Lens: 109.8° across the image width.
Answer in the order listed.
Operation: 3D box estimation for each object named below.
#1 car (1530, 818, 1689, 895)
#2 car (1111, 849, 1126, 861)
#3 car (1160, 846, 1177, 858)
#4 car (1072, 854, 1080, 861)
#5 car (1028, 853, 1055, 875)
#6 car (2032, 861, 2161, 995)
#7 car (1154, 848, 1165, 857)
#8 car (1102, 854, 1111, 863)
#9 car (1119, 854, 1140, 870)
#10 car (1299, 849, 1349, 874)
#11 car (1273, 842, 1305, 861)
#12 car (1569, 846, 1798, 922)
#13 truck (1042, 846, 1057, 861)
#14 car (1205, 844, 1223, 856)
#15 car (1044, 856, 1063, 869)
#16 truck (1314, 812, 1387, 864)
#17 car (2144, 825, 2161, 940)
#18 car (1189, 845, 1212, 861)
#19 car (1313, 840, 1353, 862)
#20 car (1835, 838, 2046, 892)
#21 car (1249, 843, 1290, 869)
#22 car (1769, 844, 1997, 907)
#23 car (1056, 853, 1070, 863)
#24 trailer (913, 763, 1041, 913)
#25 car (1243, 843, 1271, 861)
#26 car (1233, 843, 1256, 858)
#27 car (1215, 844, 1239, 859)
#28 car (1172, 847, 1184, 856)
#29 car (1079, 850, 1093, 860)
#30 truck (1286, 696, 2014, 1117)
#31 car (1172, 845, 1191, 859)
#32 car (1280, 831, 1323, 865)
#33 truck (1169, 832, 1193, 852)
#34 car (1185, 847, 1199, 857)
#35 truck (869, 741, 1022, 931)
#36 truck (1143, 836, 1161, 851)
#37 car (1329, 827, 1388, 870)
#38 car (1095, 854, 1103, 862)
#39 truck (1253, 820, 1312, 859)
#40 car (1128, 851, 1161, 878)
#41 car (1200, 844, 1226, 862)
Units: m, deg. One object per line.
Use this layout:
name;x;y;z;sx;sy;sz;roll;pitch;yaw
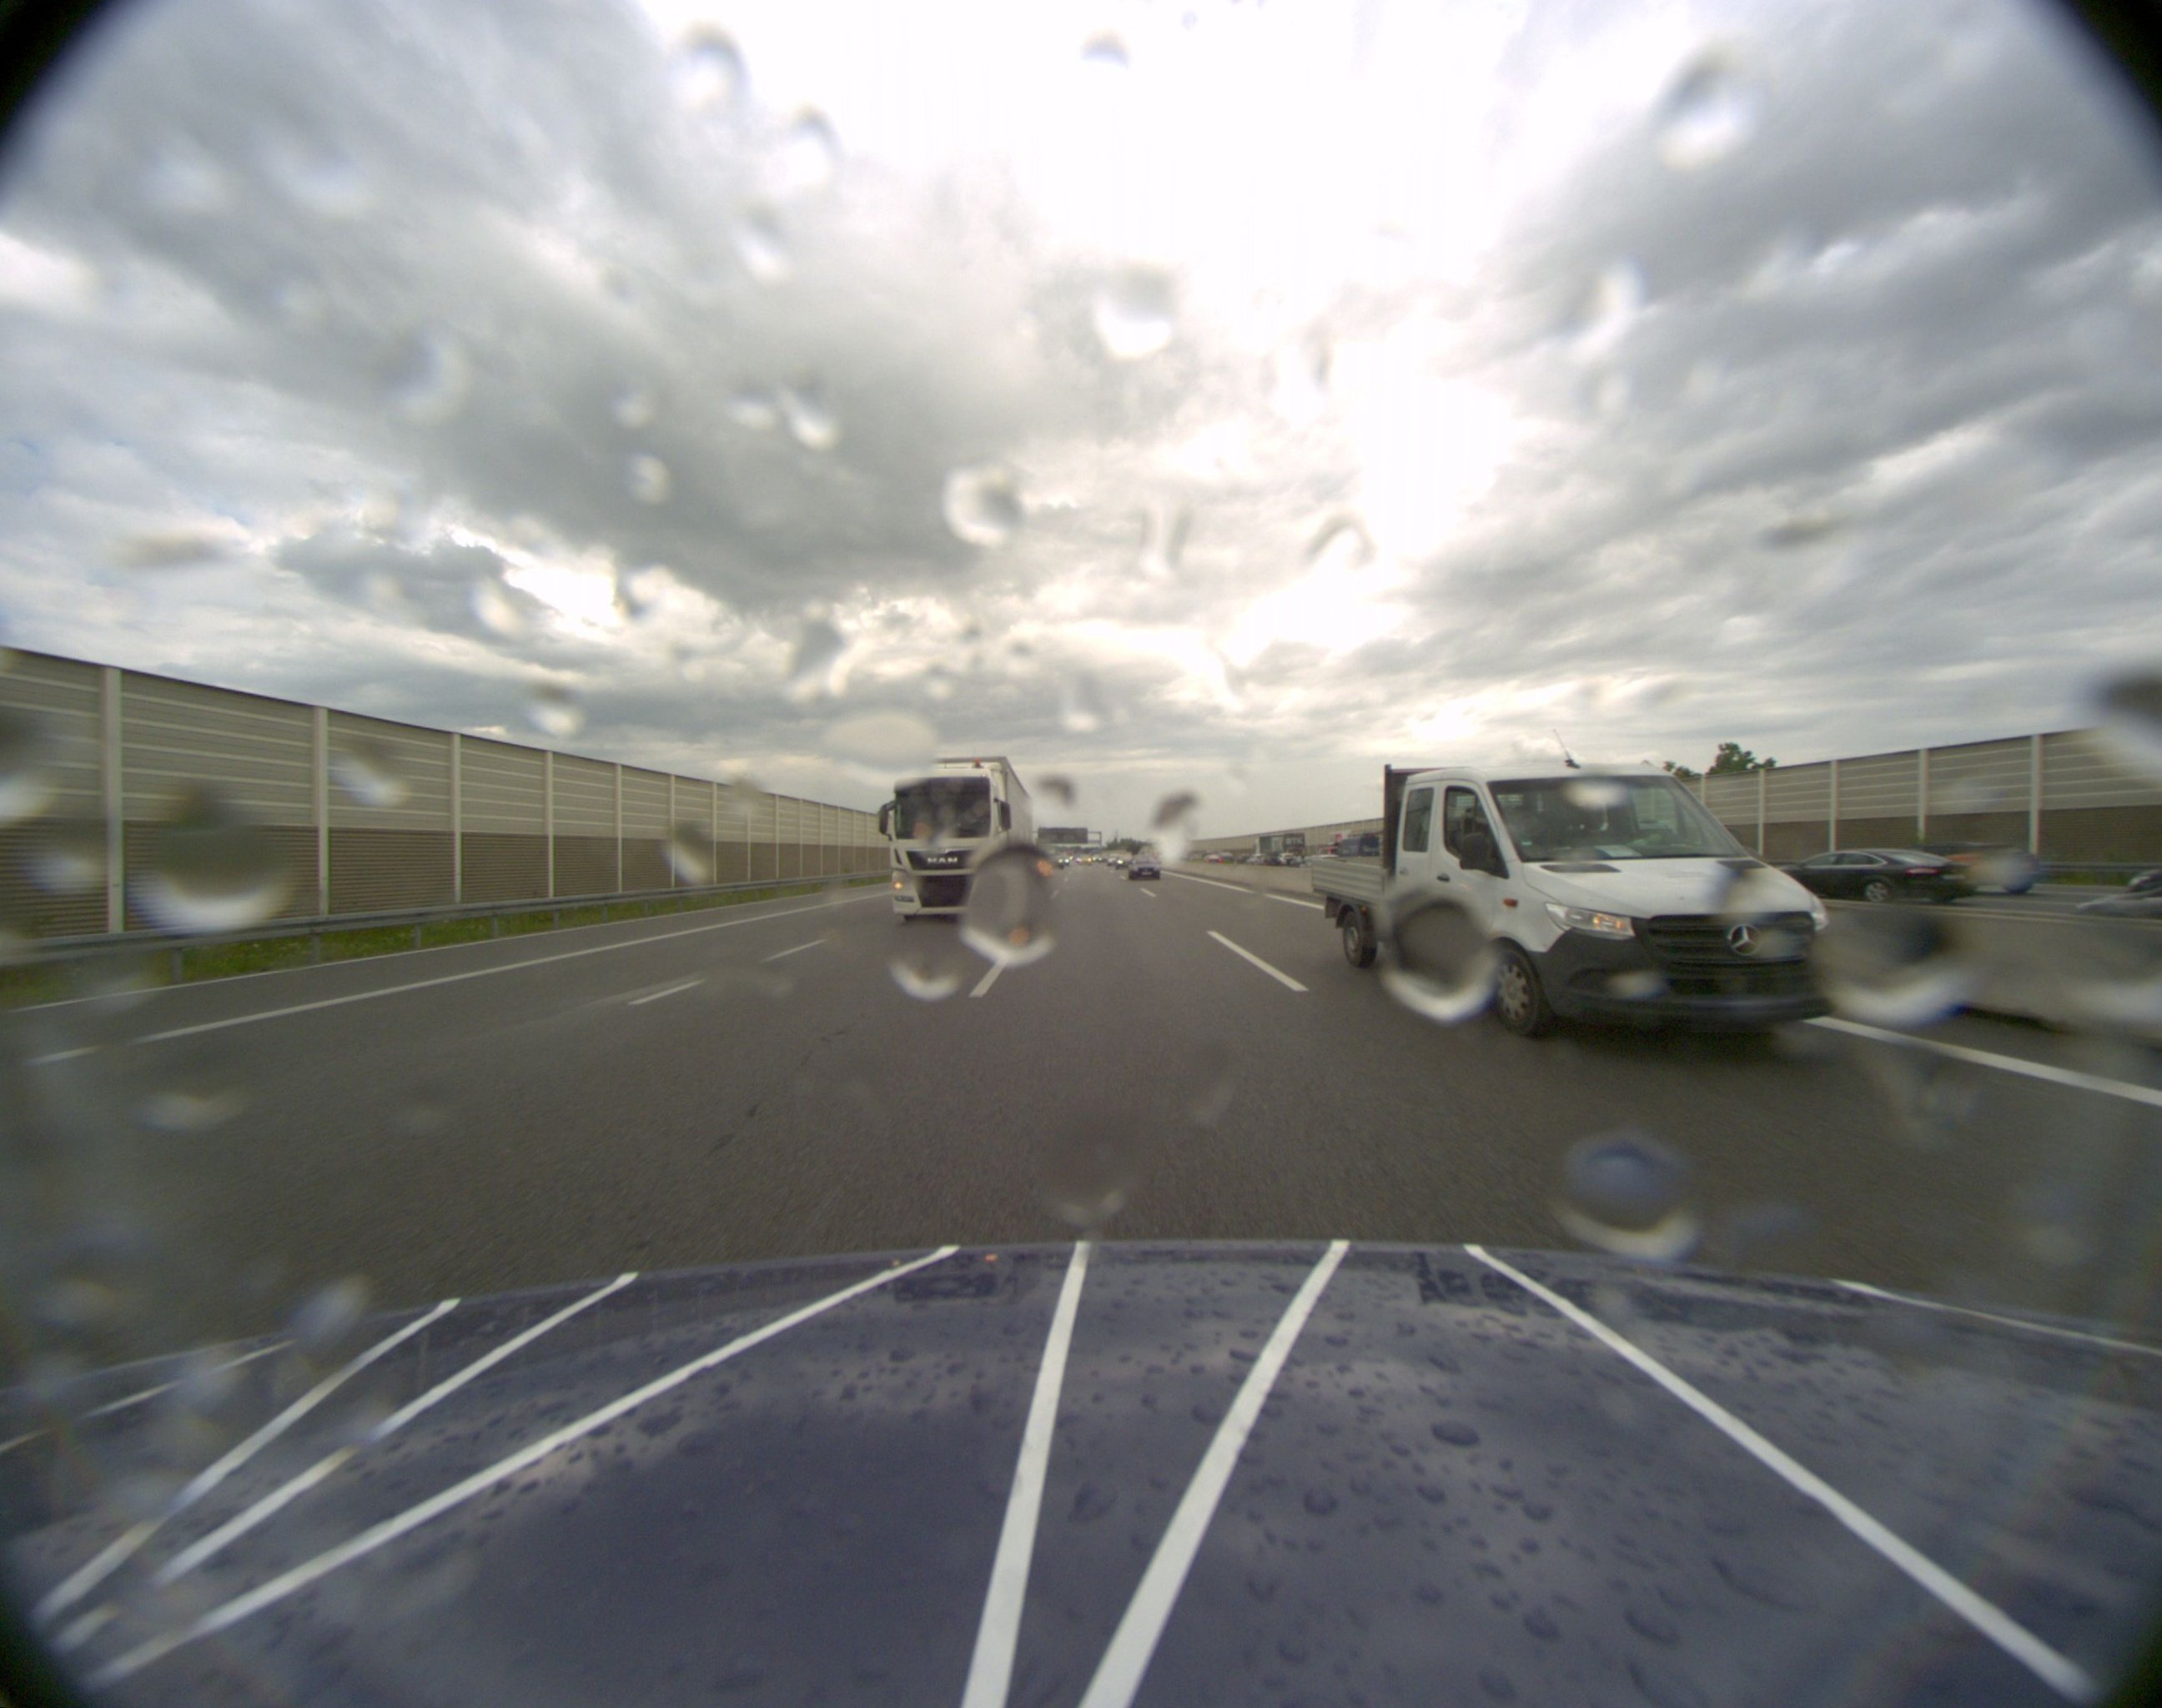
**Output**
car;18.713;0.058;27.265;2.031;2.459;5.148;-1;1;-1
car;4.639;0.119;93.705;1.732;1.395;4.000;-1;1;2
car;14.282;-0.367;124.304;2.120;1.924;4.932;-1;0;0
car;-1.072;0.774;157.715;1.497;1.395;4.000;-1;1;2
car;-2.686;0.686;52.586;1.578;1.395;3.999;-1;1;1
car;14.460;0.941;8.721;1.817;1.622;4.208;-1;0;0
car;17.992;-0.416;174.221;2.120;1.924;4.932;-1;0;0
car;4.466;0.816;134.847;1.497;1.395;4.000;-1;1;2
car;4.676;0.749;73.627;1.776;1.451;4.479;-1;1;0
car;15.082;0.434;47.429;1.641;1.496;4.362;-1;0;-1
car;22.910;-0.272;83.810;2.120;1.924;4.932;-1;0;0
car;14.651;0.633;18.917;1.924;1.622;4.695;-1;0;-1
truck;-6.793;-0.147;163.492;2.599;3.037;9.701;-1;1;0
car;22.313;-0.716;127.399;2.120;1.924;4.932;-1;0;0
car;-2.916;0.868;82.101;1.776;1.248;4.479;-1;1;0
truck;26.881;-1.528;76.656;3.225;4.829;11.696;-1;0;0
car;18.684;0.458;10.283;2.031;1.886;4.680;-1;0;-1
car;15.131;-0.106;96.688;2.120;1.924;4.932;-1;0;0
car;22.923;-0.311;69.354;1.947;1.924;4.932;-1;0;0
car;26.283;0.301;23.501;1.574;1.496;4.362;-1;0;-1
car;14.770;0.099;59.880;1.947;1.924;4.932;-1;0;0
car;21.601;0.509;20.770;1.574;1.496;4.362;-1;0;-1
car;-2.408;0.593;104.121;1.776;1.248;4.479;-1;1;0
trailer;-3.303;-0.521;28.306;2.926;4.188;13.194;-2;1;0
car;19.323;-0.230;83.524;1.947;1.924;4.932;-1;0;0
car;22.760;-0.498;106.111;2.120;1.924;4.932;-1;0;0
car;19.528;-0.341;101.841;2.120;1.924;4.932;-1;0;0
car;22.171;-0.577;173.910;2.120;1.924;4.932;-1;0;0
car;0.675;0.133;106.195;1.732;1.395;4.000;-1;1;2
truck;4.340;0.278;8.057;2.313;2.425;7.147;-1;1;0
car;14.602;-0.242;110.381;2.120;1.924;4.932;-1;0;0
car;18.809;-0.516;64.974;2.133;2.733;4.932;-1;1;-1
truck;26.109;-3.019;199.641;3.714;5.029;17.226;-1;0;-1
car;22.350;-0.360;153.227;2.120;1.924;4.932;-1;0;0
truck;-3.229;-0.422;19.644;2.913;4.146;5.191;-2;1;-1
truck;24.558;-3.641;262.417;3.715;5.029;17.223;-1;0;-3
car;18.982;-0.381;52.286;2.133;2.733;4.932;-1;1;-1
car;3.649;0.843;152.732;1.498;1.395;4.000;-1;1;1
truck;27.154;-1.838;103.748;3.448;4.829;17.227;-1;0;0
car;3.568;0.554;43.147;1.578;1.395;3.999;-1;1;1
car;14.633;-0.164;84.399;1.947;1.924;4.932;-1;0;0
